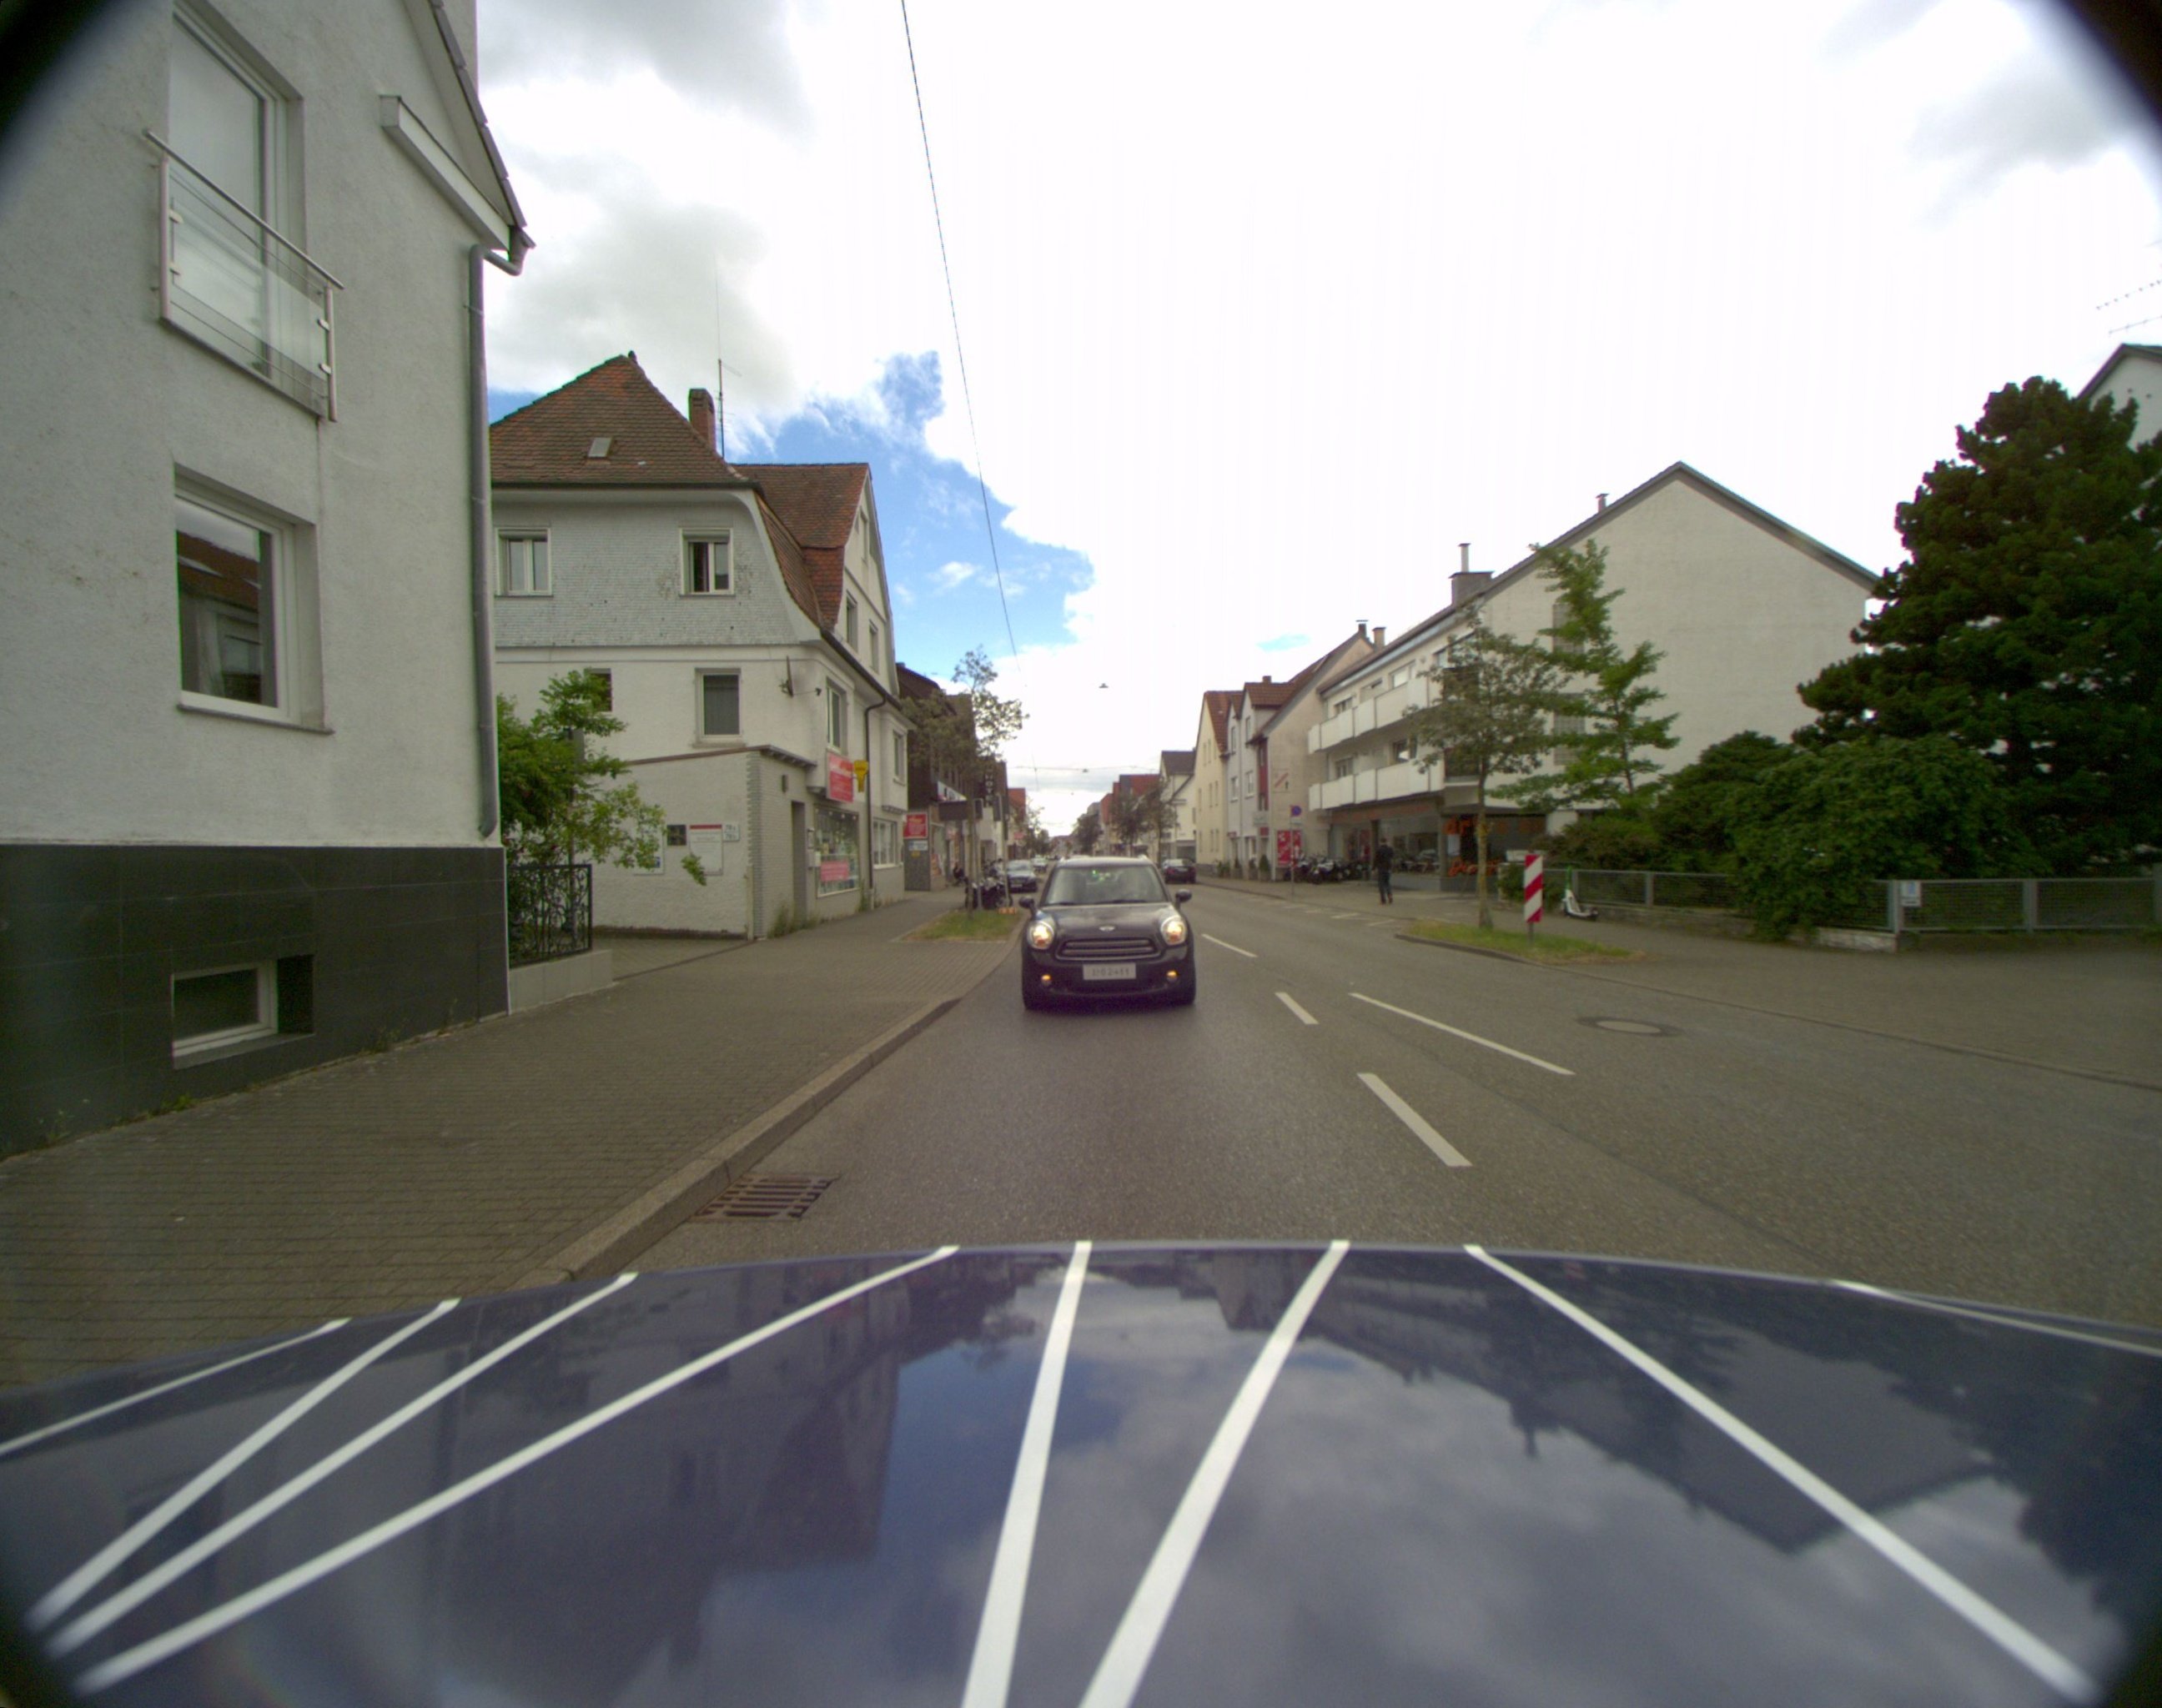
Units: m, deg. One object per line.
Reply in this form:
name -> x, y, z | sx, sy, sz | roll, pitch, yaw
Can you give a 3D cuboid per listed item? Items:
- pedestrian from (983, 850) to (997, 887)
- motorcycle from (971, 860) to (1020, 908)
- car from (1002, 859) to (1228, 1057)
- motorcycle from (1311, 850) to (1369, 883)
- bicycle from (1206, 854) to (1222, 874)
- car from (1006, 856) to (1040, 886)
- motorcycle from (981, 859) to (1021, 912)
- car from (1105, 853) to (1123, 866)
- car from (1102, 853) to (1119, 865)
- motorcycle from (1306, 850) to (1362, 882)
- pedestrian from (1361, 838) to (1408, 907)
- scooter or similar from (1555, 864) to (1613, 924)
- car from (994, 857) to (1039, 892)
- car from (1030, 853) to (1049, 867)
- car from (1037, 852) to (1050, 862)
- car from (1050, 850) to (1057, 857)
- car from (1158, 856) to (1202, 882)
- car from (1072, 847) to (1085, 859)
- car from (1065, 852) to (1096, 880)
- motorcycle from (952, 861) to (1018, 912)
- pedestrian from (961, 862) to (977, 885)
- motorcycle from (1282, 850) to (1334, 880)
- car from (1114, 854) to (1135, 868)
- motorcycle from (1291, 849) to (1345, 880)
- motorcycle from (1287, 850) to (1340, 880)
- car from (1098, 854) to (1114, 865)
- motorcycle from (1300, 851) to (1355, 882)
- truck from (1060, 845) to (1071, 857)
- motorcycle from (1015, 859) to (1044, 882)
pedestrian -> -4.322, 0.686, 35.998 | 0.644, 1.730, 0.742 | 0, 1, -7
motorcycle -> -2.825, 0.973, 25.382 | 0.648, 1.432, 2.472 | -2, 1, 18
car -> 0.167, 0.885, 8.763 | 1.855, 1.527, 4.734 | -2, 1, -3
motorcycle -> 11.099, 0.538, 32.627 | 2.231, 1.258, 0.613 | -4, 1, -3
bicycle -> 8.427, 0.605, 48.131 | 0.515, 1.189, 2.023 | -2, 1, -2
car -> -3.110, 0.886, 41.088 | 1.645, 1.433, 3.901 | -2, 1, -2
motorcycle -> -2.489, 0.936, 23.950 | 0.672, 1.516, 2.598 | -2, 1, 5
car -> 3.885, 0.655, 89.741 | 1.716, 1.389, 3.899 | -2, 1, -3
car -> 3.639, 0.575, 94.723 | 1.716, 1.389, 3.899 | -2, 1, -3
motorcycle -> 11.111, 0.532, 33.395 | 2.231, 1.258, 0.613 | -4, 1, -3
pedestrian -> 8.538, 0.506, 21.397 | 0.753, 1.839, 1.019 | -5, 1, -1
scooter or similar -> 9.981, 0.779, 15.118 | 0.340, 1.105, 1.180 | -2, 1, -1
car -> -2.943, 0.910, 35.403 | 1.830, 1.400, 4.563 | -2, 1, -2
car -> -4.217, 0.637, 77.685 | 1.795, 1.356, 3.948 | 0, 0, -1
car -> -5.298, 0.366, 107.822 | 1.795, 1.397, 3.948 | 0, 0, -1
car -> -8.563, -0.257, 236.876 | 2.059, 2.002, 4.185 | -2, 1, -2
car -> 5.625, 0.823, 43.593 | 1.792, 1.409, 4.340 | -1, 0, -2
car -> -0.430, -0.231, 127.185 | 1.855, 1.932, 4.489 | 0, 0, -3
car -> -0.047, 0.729, 48.667 | 1.855, 1.615, 4.735 | -2, 1, -1
motorcycle -> -2.777, 0.900, 21.772 | 0.777, 1.373, 2.237 | -3, 1, -38
pedestrian -> -5.776, 1.006, 39.225 | 0.742, 1.204, 0.643 | 0, 1, -2
motorcycle -> 10.934, 0.530, 36.593 | 2.231, 1.258, 0.613 | -4, 1, -3
car -> 4.465, 0.710, 79.059 | 1.716, 1.389, 3.899 | -2, 1, -3
motorcycle -> 10.976, 0.464, 35.208 | 2.231, 1.258, 0.699 | -4, 1, -3
motorcycle -> 10.969, 0.534, 35.912 | 2.231, 1.258, 0.613 | -4, 1, -3
car -> 3.327, 0.679, 100.362 | 1.716, 1.389, 3.899 | -2, 1, -3
motorcycle -> 11.074, 0.554, 34.206 | 2.231, 1.258, 0.613 | -4, 1, -3
truck -> -4.343, -0.840, 211.517 | 2.800, 3.020, 8.249 | -2, 1, -1
motorcycle -> -3.010, 0.958, 44.416 | 1.589, 1.284, 0.500 | -3, 1, -31
